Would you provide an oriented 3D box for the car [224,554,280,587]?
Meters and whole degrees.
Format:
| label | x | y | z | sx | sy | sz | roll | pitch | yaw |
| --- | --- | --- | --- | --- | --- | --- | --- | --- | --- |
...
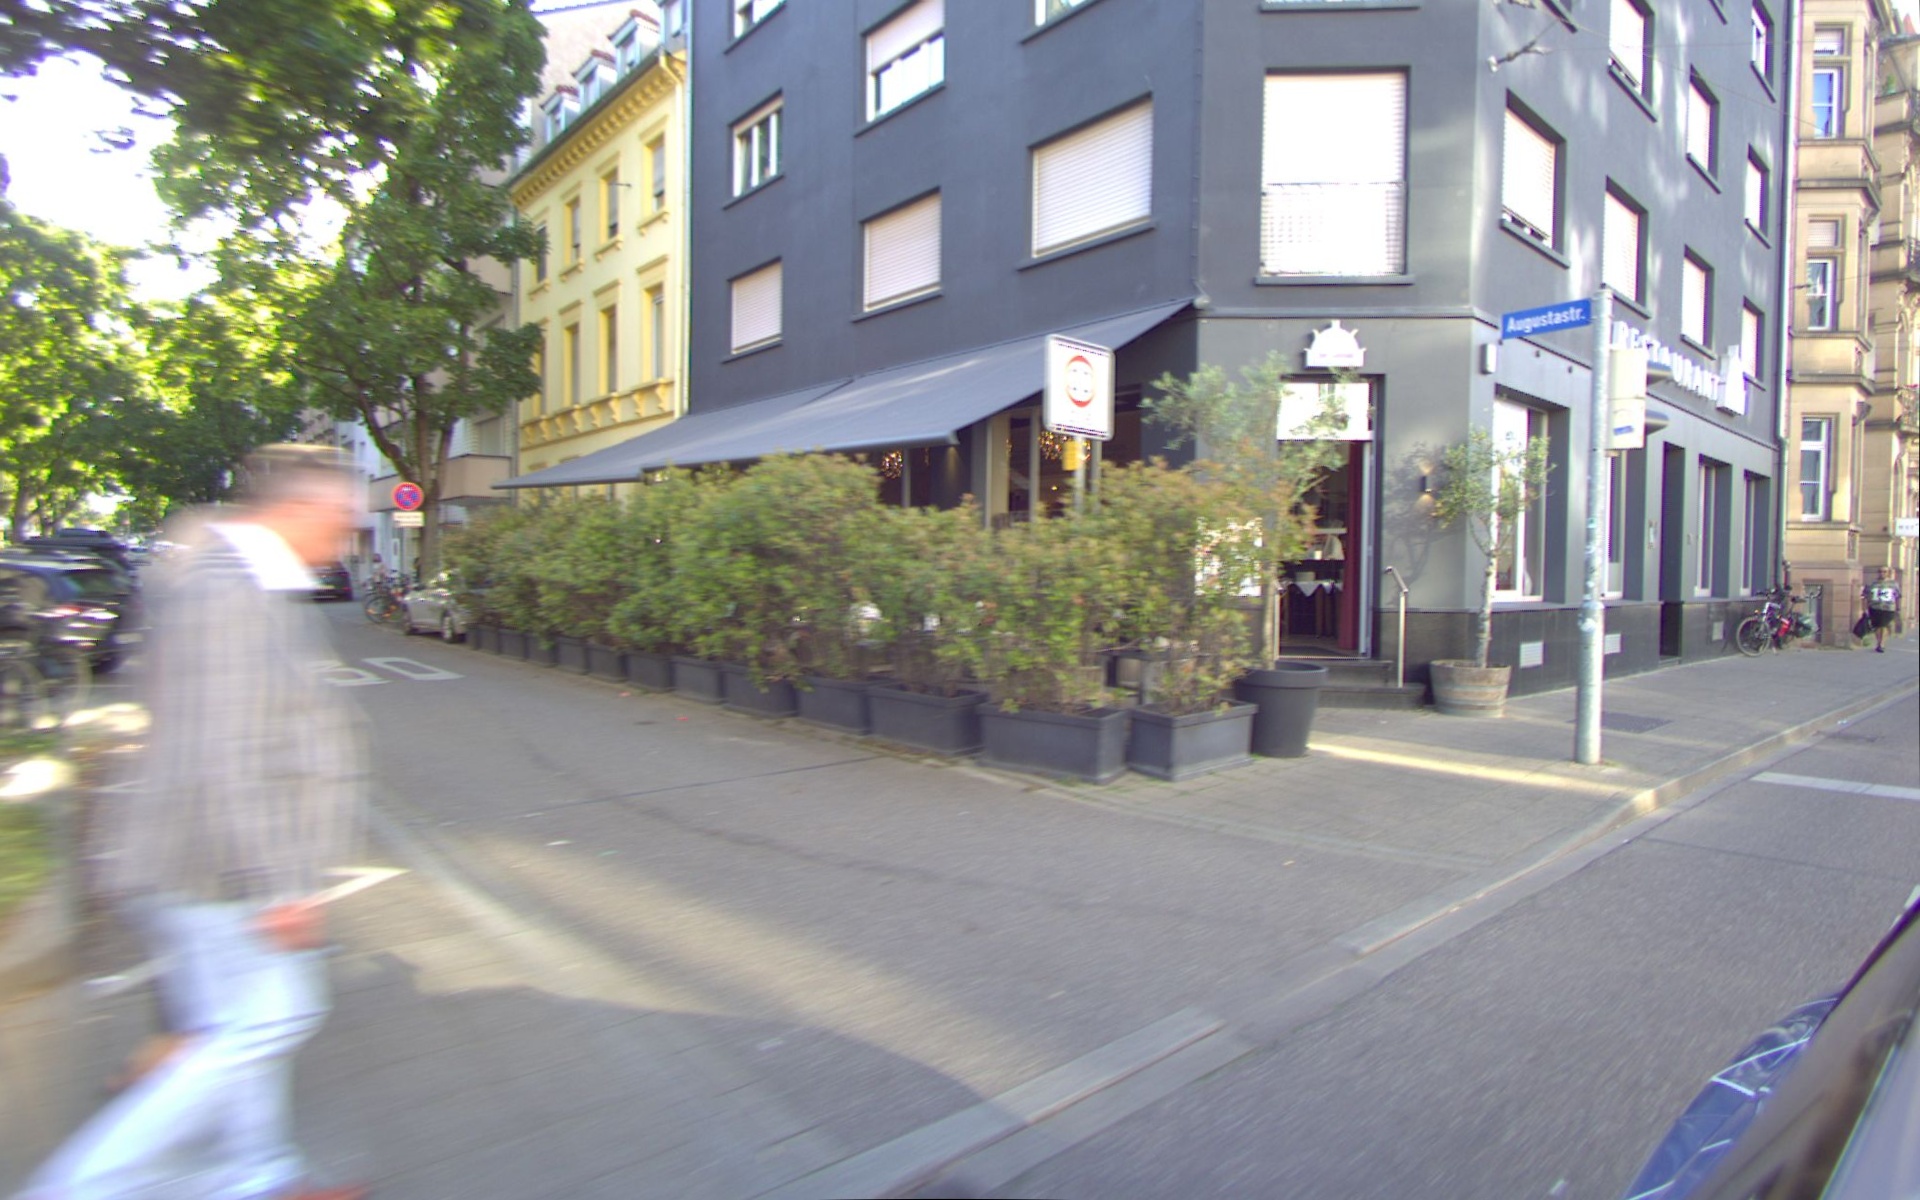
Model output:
| label | x | y | z | sx | sy | sz | roll | pitch | yaw |
| --- | --- | --- | --- | --- | --- | --- | --- | --- | --- |
| car | -33.294 | -1.395 | 47.574 | 1.846 | 1.482 | 3.996 | -2 | 3 | -39 |

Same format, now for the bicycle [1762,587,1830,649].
| label | x | y | z | sx | sy | sz | roll | pitch | yaw |
| --- | --- | --- | --- | --- | --- | --- | --- | --- | --- |
| bicycle | 15.944 | 0.320 | 19.282 | 1.771 | 1.083 | 0.593 | 0 | 4 | -39 |

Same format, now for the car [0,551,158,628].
| label | x | y | z | sx | sy | sz | roll | pitch | yaw |
| --- | --- | --- | --- | --- | --- | --- | --- | --- | --- |
| car | -21.188 | -0.248 | 23.214 | 3.999 | 1.684 | 1.730 | 1 | 0 | -14 |

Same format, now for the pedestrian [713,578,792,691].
| label | x | y | z | sx | sy | sz | roll | pitch | yaw |
| --- | --- | --- | --- | --- | --- | --- | --- | --- | --- |
| pedestrian | -2.368 | 0.369 | 11.549 | 0.639 | 1.218 | 0.649 | 0 | 2 | -40 |

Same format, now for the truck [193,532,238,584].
| label | x | y | z | sx | sy | sz | roll | pitch | yaw |
| --- | --- | --- | --- | --- | --- | --- | --- | --- | --- |
| truck | -43.203 | -2.431 | 58.711 | 1.846 | 2.908 | 4.284 | -2 | 3 | -39 |

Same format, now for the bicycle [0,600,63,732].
| label | x | y | z | sx | sy | sz | roll | pitch | yaw |
| --- | --- | --- | --- | --- | --- | --- | --- | --- | --- |
| bicycle | -7.886 | 0.538 | 8.036 | 0.449 | 1.027 | 1.327 | 2 | 1 | -7 |

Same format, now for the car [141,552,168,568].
| label | x | y | z | sx | sy | sz | roll | pitch | yaw |
| --- | --- | --- | --- | --- | --- | --- | --- | --- | --- |
| car | -73.769 | -3.671 | 92.682 | 1.846 | 1.482 | 3.996 | -2 | 3 | -39 |

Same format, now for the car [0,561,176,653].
| label | x | y | z | sx | sy | sz | roll | pitch | yaw |
| --- | --- | --- | --- | --- | --- | --- | --- | --- | --- |
| car | -15.932 | 0.101 | 17.003 | 3.999 | 1.482 | 1.730 | 1 | 0 | -14 |

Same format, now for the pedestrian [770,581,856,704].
| label | x | y | z | sx | sy | sz | roll | pitch | yaw |
| --- | --- | --- | --- | --- | --- | --- | --- | --- | --- |
| pedestrian | -1.547 | 0.421 | 10.609 | 0.639 | 1.218 | 0.649 | 0 | 2 | -40 |

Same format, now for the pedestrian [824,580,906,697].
| label | x | y | z | sx | sy | sz | roll | pitch | yaw |
| --- | --- | --- | --- | --- | --- | --- | --- | --- | --- |
| pedestrian | -1.047 | 0.402 | 11.148 | 0.639 | 1.218 | 0.649 | 0 | 2 | -40 |

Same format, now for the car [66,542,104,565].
| label | x | y | z | sx | sy | sz | roll | pitch | yaw |
| --- | --- | --- | --- | --- | --- | --- | --- | --- | --- |
| car | -69.647 | -3.687 | 80.579 | 2.132 | 1.819 | 3.996 | -2 | 3 | -39 |

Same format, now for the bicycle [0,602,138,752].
| label | x | y | z | sx | sy | sz | roll | pitch | yaw |
| --- | --- | --- | --- | --- | --- | --- | --- | --- | --- |
| bicycle | -7.113 | 0.555 | 7.882 | 0.449 | 1.027 | 1.327 | 2 | 1 | -7 |

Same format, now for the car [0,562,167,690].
| label | x | y | z | sx | sy | sz | roll | pitch | yaw |
| --- | --- | --- | --- | --- | --- | --- | --- | --- | --- |
| car | -12.422 | 0.276 | 12.300 | 3.999 | 1.482 | 1.730 | 1 | 0 | -14 |

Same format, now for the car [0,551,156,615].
| label | x | y | z | sx | sy | sz | roll | pitch | yaw |
| --- | --- | --- | --- | --- | --- | --- | --- | --- | --- |
| car | -25.139 | -0.455 | 28.115 | 3.999 | 1.684 | 1.730 | 1 | 0 | -14 |

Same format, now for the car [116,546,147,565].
| label | x | y | z | sx | sy | sz | roll | pitch | yaw |
| --- | --- | --- | --- | --- | --- | --- | --- | --- | --- |
| car | -66.100 | -3.558 | 80.751 | 1.846 | 1.482 | 3.996 | -2 | 3 | -39 |

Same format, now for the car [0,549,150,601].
| label | x | y | z | sx | sy | sz | roll | pitch | yaw |
| --- | --- | --- | --- | --- | --- | --- | --- | --- | --- |
| car | -30.404 | -0.828 | 34.494 | 3.999 | 1.684 | 1.730 | 1 | 0 | -14 |

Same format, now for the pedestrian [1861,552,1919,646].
| label | x | y | z | sx | sy | sz | roll | pitch | yaw |
| --- | --- | --- | --- | --- | --- | --- | --- | --- | --- |
| pedestrian | 19.039 | -0.028 | 20.657 | 0.784 | 1.846 | 0.802 | 0 | 3 | -41 |

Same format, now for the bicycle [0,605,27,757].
| label | x | y | z | sx | sy | sz | roll | pitch | yaw |
| --- | --- | --- | --- | --- | --- | --- | --- | --- | --- |
| bicycle | -6.669 | 0.570 | 6.561 | 0.449 | 1.027 | 1.328 | 1 | 1 | -22 |

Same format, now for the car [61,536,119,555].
| label | x | y | z | sx | sy | sz | roll | pitch | yaw |
| --- | --- | --- | --- | --- | --- | --- | --- | --- | --- |
| car | -85.128 | -5.354 | 99.053 | 3.917 | 1.820 | 1.804 | -1 | 2 | -10 |

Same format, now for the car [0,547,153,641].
| label | x | y | z | sx | sy | sz | roll | pitch | yaw |
| --- | --- | --- | --- | --- | --- | --- | --- | --- | --- |
| car | -17.907 | -0.128 | 18.956 | 3.999 | 1.684 | 1.730 | 1 | 0 | -14 |

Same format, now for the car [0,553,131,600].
| label | x | y | z | sx | sy | sz | roll | pitch | yaw |
| --- | --- | --- | --- | --- | --- | --- | --- | --- | --- |
| car | -33.896 | -0.857 | 37.926 | 3.999 | 1.684 | 1.730 | 1 | 0 | -14 |

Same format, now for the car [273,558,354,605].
| label | x | y | z | sx | sy | sz | roll | pitch | yaw |
| --- | --- | --- | --- | --- | --- | --- | --- | --- | --- |
| car | -21.894 | -0.675 | 34.217 | 1.846 | 1.482 | 3.996 | -2 | 3 | -39 |

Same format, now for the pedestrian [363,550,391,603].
| label | x | y | z | sx | sy | sz | roll | pitch | yaw |
| --- | --- | --- | --- | --- | --- | --- | --- | --- | --- |
| pedestrian | -18.900 | -0.772 | 32.814 | 0.648 | 1.682 | 0.640 | 1 | 1 | 42 |

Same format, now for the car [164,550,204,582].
| label | x | y | z | sx | sy | sz | roll | pitch | yaw |
| --- | --- | --- | --- | --- | --- | --- | --- | --- | --- |
| car | -51.811 | -2.287 | 67.510 | 1.965 | 2.038 | 3.996 | -2 | 3 | -39 |

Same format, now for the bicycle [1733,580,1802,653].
| label | x | y | z | sx | sy | sz | roll | pitch | yaw |
| --- | --- | --- | --- | --- | --- | --- | --- | --- | --- |
| bicycle | 14.482 | 0.272 | 18.136 | 1.875 | 1.212 | 0.624 | -1 | 4 | -43 |

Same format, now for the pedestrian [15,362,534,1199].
| label | x | y | z | sx | sy | sz | roll | pitch | yaw |
| --- | --- | --- | --- | --- | --- | --- | --- | --- | --- |
| pedestrian | -1.436 | 0.504 | 2.105 | 0.760 | 1.796 | 0.714 | 0 | 4 | -44 |

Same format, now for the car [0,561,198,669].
| label | x | y | z | sx | sy | sz | roll | pitch | yaw |
| --- | --- | --- | --- | --- | --- | --- | --- | --- | --- |
| car | -13.730 | 0.197 | 14.589 | 3.999 | 1.482 | 1.730 | 1 | 0 | -14 |

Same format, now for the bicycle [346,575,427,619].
| label | x | y | z | sx | sy | sz | roll | pitch | yaw |
| --- | --- | --- | --- | --- | --- | --- | --- | --- | --- |
| bicycle | -15.059 | -0.102 | 26.597 | 1.769 | 1.121 | 0.618 | -1 | 2 | -41 |

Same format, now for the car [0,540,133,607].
| label | x | y | z | sx | sy | sz | roll | pitch | yaw |
| --- | --- | --- | --- | --- | --- | --- | --- | --- | --- |
| car | -29.059 | -0.826 | 32.082 | 3.999 | 2.052 | 1.730 | 1 | 0 | -14 |

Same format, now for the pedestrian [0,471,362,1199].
| label | x | y | z | sx | sy | sz | roll | pitch | yaw |
| --- | --- | --- | --- | --- | --- | --- | --- | --- | --- |
| pedestrian | -2.046 | 0.516 | 2.545 | 0.760 | 1.622 | 0.714 | 0 | 4 | -44 |

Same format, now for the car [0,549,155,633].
| label | x | y | z | sx | sy | sz | roll | pitch | yaw |
| --- | --- | --- | --- | --- | --- | --- | --- | --- | --- |
| car | -19.739 | -0.195 | 21.288 | 3.999 | 1.684 | 1.730 | 1 | 0 | -14 |

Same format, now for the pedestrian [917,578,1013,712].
| label | x | y | z | sx | sy | sz | roll | pitch | yaw |
| --- | --- | --- | --- | --- | --- | --- | --- | --- | --- |
| pedestrian | 0.043 | 0.407 | 9.738 | 0.639 | 1.218 | 0.649 | 0 | 2 | -40 |

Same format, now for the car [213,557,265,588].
| label | x | y | z | sx | sy | sz | roll | pitch | yaw |
| --- | --- | --- | --- | --- | --- | --- | --- | --- | --- |
| car | -36.107 | -1.400 | 50.673 | 1.846 | 1.482 | 3.996 | -2 | 3 | -39 |

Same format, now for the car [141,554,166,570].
| label | x | y | z | sx | sy | sz | roll | pitch | yaw |
| --- | --- | --- | --- | --- | --- | --- | --- | --- | --- |
| car | -77.937 | -3.688 | 97.800 | 1.846 | 1.482 | 3.996 | -2 | 3 | -39 |

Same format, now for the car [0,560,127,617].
| label | x | y | z | sx | sy | sz | roll | pitch | yaw |
| --- | --- | --- | --- | --- | --- | --- | --- | --- | --- |
| car | -23.738 | -0.293 | 25.423 | 3.916 | 1.355 | 1.804 | 1 | 0 | -14 |

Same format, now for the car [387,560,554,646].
| label | x | y | z | sx | sy | sz | roll | pitch | yaw |
| --- | --- | --- | --- | --- | --- | --- | --- | --- | --- |
| car | -9.562 | -0.017 | 19.630 | 1.848 | 1.482 | 3.992 | -2 | 3 | -42 |
